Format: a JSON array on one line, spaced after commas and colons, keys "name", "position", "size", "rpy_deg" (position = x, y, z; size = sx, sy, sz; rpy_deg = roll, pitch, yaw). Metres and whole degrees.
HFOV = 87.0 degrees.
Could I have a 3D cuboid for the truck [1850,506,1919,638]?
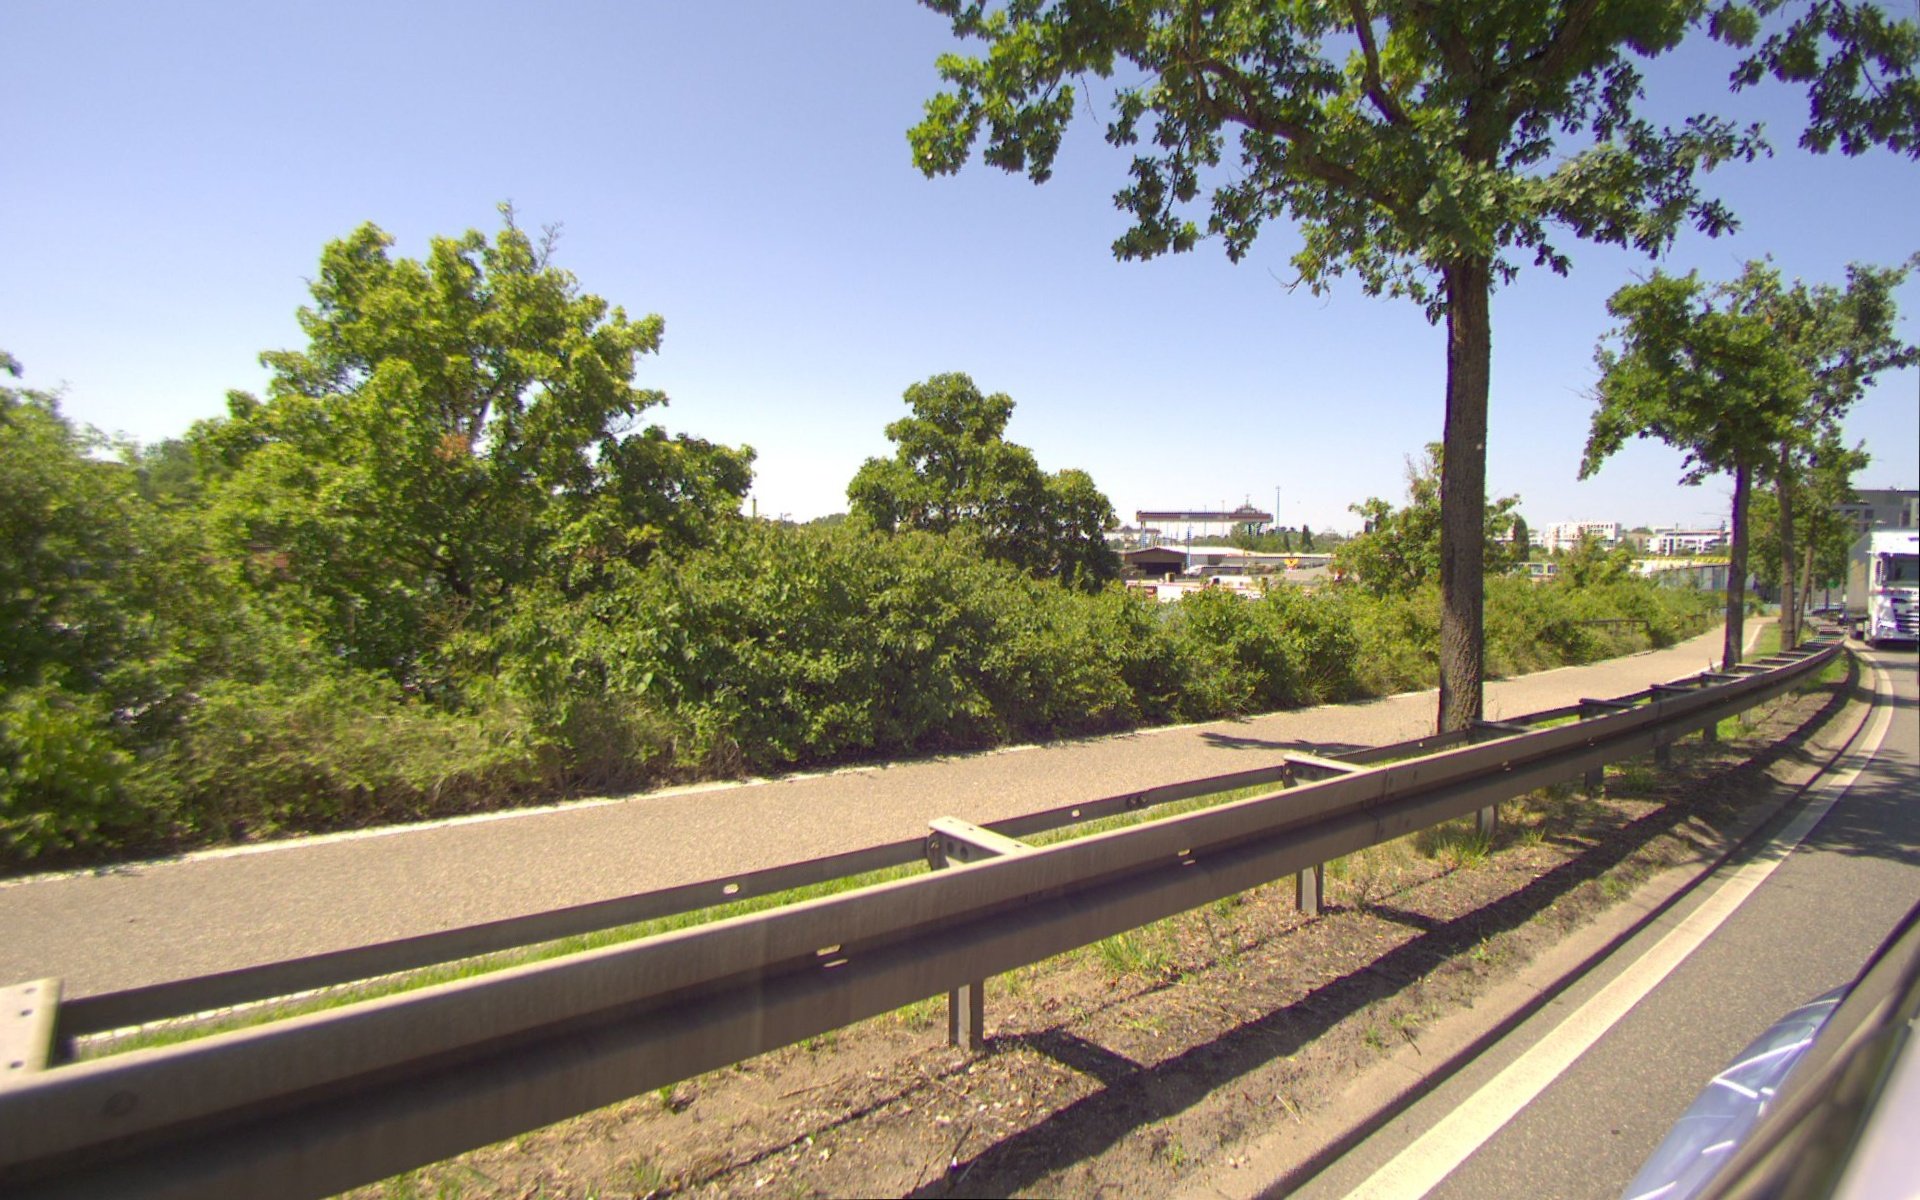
[{"name": "truck", "position": [36.447, -0.949, 38.584], "size": [3.057, 4.223, 16.672], "rpy_deg": [0, 0, 39]}]
